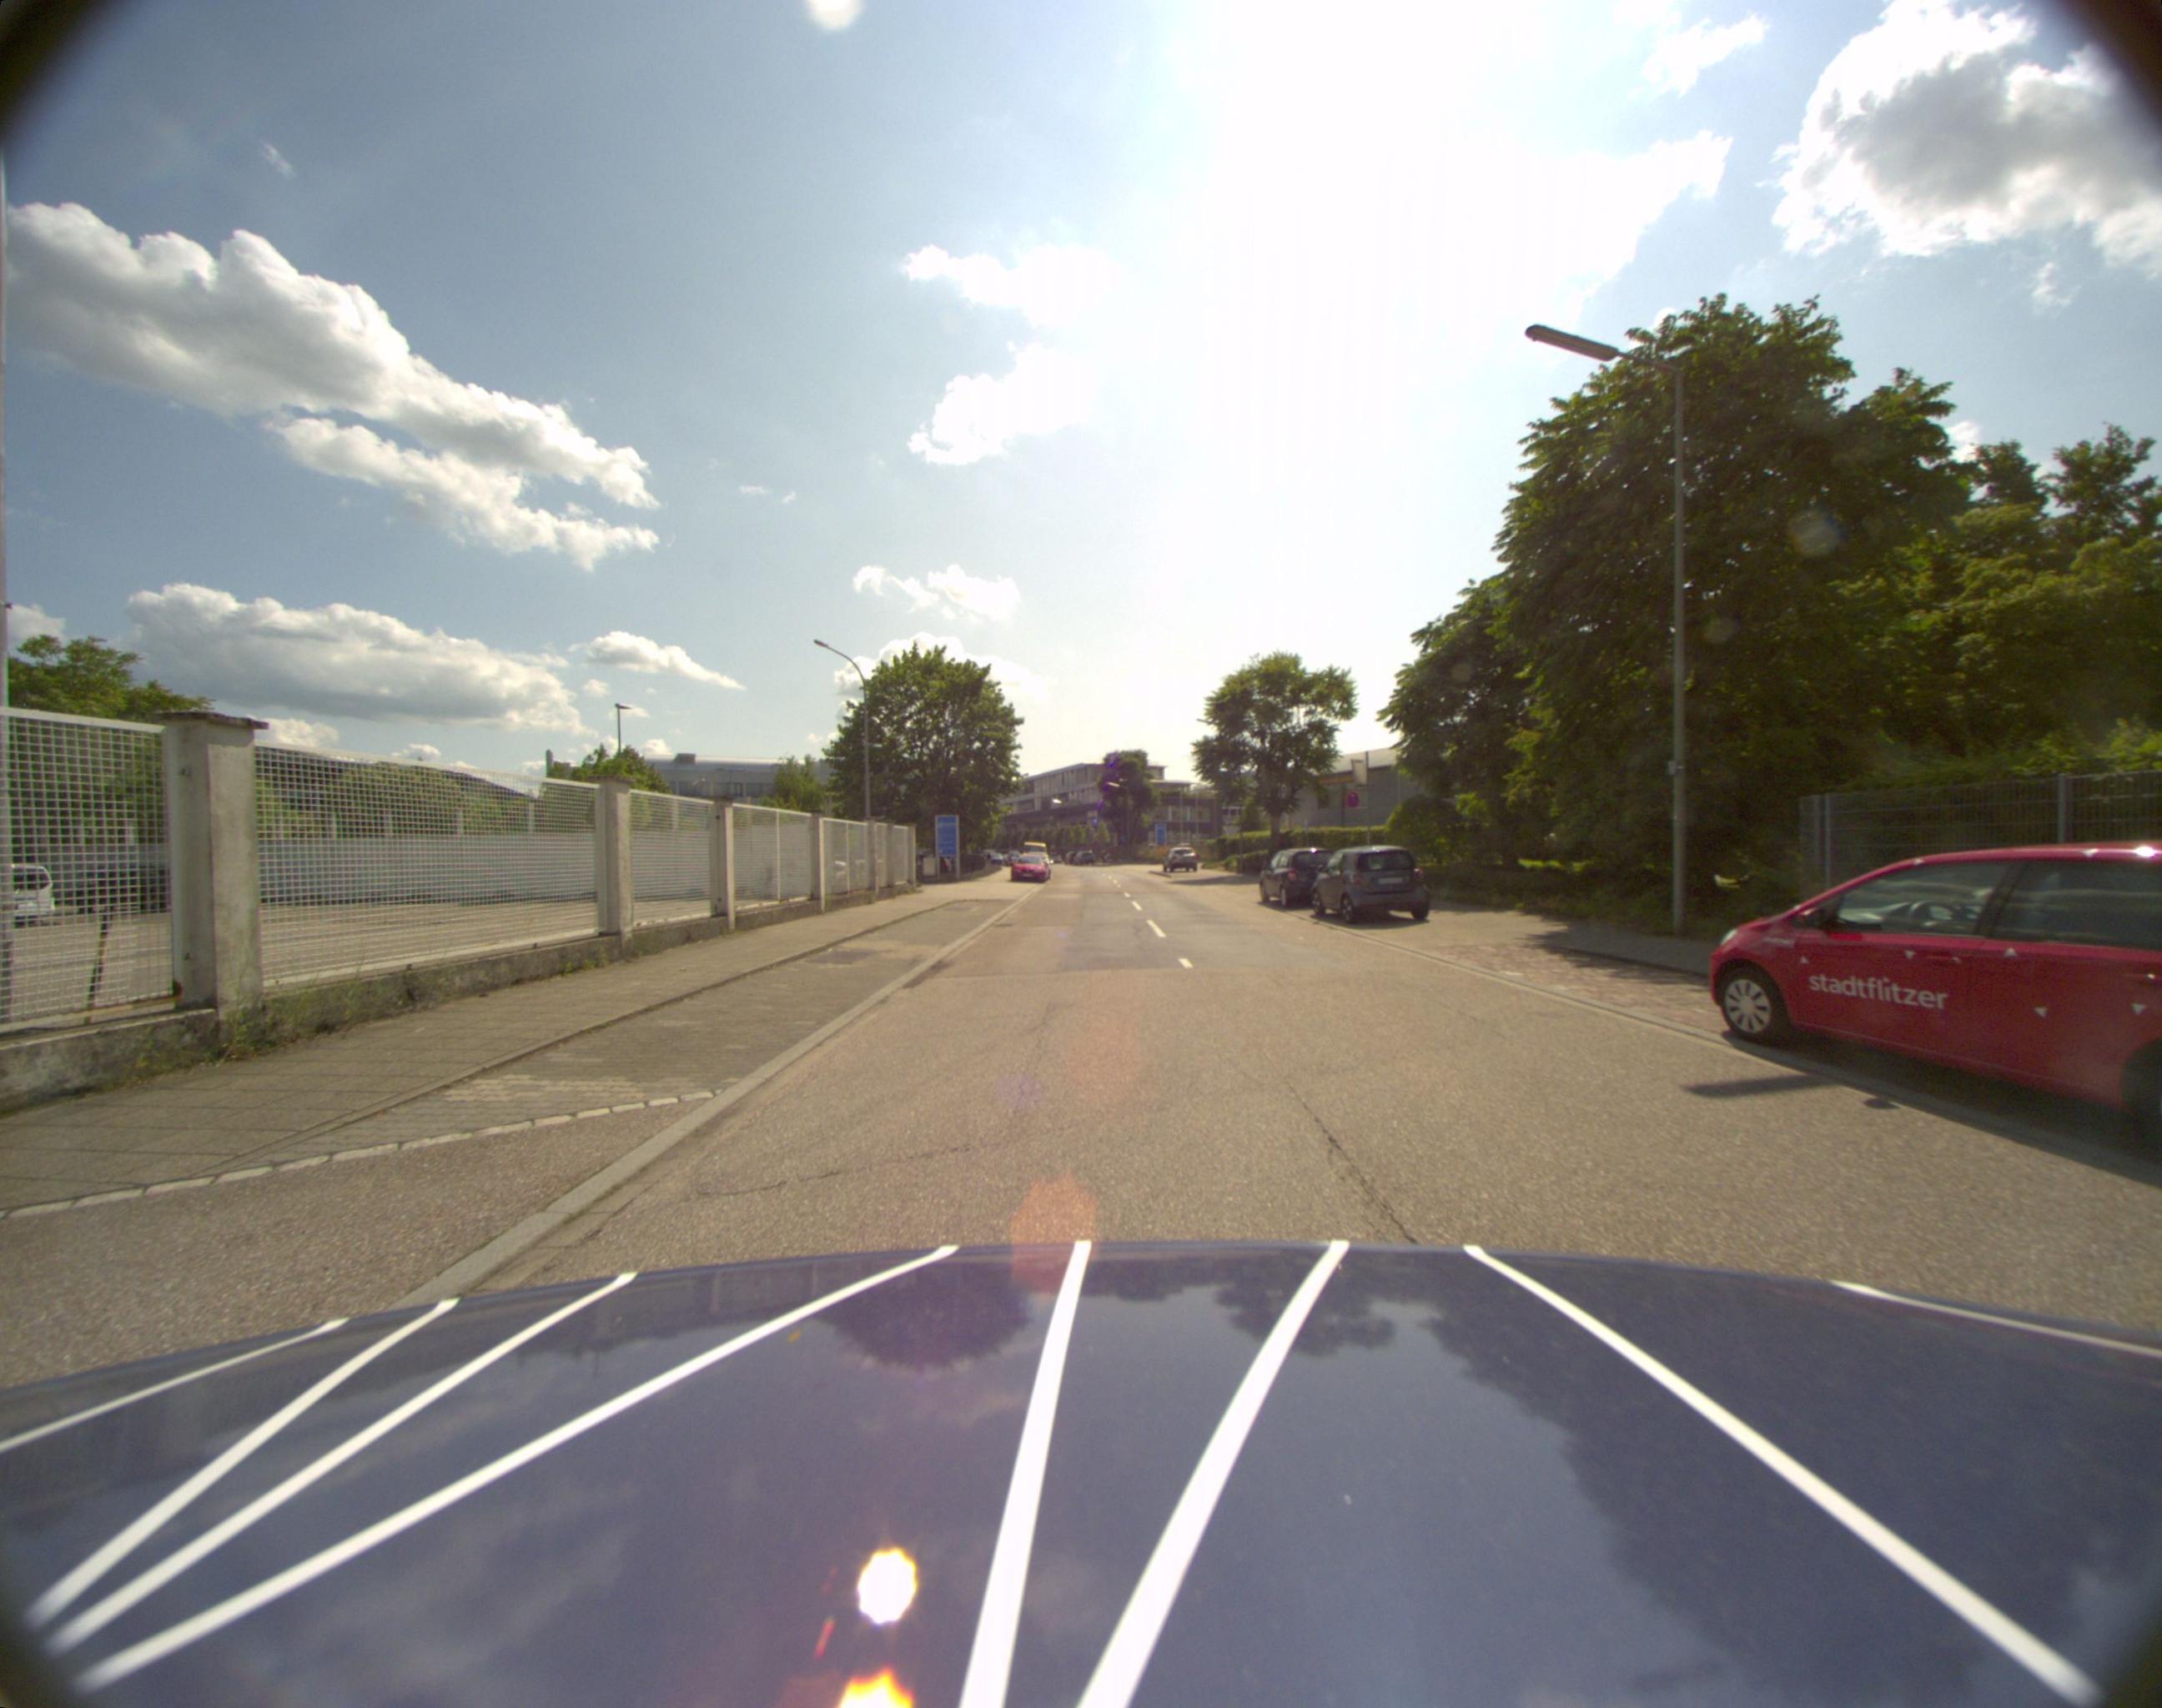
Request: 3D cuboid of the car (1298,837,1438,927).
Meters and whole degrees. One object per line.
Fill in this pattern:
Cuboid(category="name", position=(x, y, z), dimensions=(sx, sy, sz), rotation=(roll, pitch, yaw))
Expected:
Cuboid(category="car", position=(6.077, 0.518, 16.476), dimensions=(1.655, 1.636, 3.272), rotation=(-4, 1, -1))

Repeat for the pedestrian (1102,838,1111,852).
Cuboid(category="pedestrian", position=(3.076, -1.098, 91.113), dimensions=(0.845, 1.682, 0.830), rotation=(-3, 2, -8))

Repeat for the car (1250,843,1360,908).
Cuboid(category="car", position=(6.120, 0.514, 21.218), dimensions=(1.849, 1.499, 3.999), rotation=(-4, 1, 1))

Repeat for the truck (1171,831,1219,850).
Cuboid(category="truck", position=(16.883, -2.049, 112.493), dimensions=(6.943, 2.642, 2.400), rotation=(-2, 1, -25))

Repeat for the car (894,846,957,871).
Cuboid(category="car", position=(-10.526, 0.273, 51.595), dimensions=(3.884, 1.584, 1.909), rotation=(-1, 2, 1))

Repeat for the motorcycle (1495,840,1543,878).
Cuboid(category="motorcycle", position=(14.710, 0.150, 25.571), dimensions=(0.533, 1.213, 1.940), rotation=(-1, 1, 1))

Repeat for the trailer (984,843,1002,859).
Cuboid(category="trailer", position=(-12.150, -0.408, 104.634), dimensions=(1.753, 2.055, 3.941), rotation=(1, 0, -17))

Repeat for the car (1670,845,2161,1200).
Cuboid(category="car", position=(5.635, 0.742, 4.358), dimensions=(1.670, 1.458, 3.743), rotation=(-3, 1, 2))

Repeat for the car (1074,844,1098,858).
Cuboid(category="car", position=(0.577, -0.374, 91.605), dimensions=(1.805, 1.641, 4.683), rotation=(-3, 1, -14))

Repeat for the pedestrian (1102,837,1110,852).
Cuboid(category="pedestrian", position=(3.031, -1.123, 92.244), dimensions=(0.831, 1.751, 0.844), rotation=(-3, 2, -8))

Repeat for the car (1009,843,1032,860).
Cuboid(category="car", position=(-6.575, -0.277, 82.461), dimensions=(1.856, 1.755, 5.071), rotation=(1, 1, -11))

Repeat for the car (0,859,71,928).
Cuboid(category="car", position=(-34.171, 1.159, 22.777), dimensions=(5.066, 1.937, 1.934), rotation=(0, 2, -1))

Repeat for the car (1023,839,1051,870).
Cuboid(category="car", position=(-3.760, -0.043, 64.344), dimensions=(2.163, 2.451, 6.635), rotation=(0, 1, -5))

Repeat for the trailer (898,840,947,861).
Cuboid(category="trailer", position=(-17.068, -0.411, 81.645), dimensions=(5.065, 2.070, 2.058), rotation=(-1, 1, -13))

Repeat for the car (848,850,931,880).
Cuboid(category="car", position=(-10.897, 0.596, 43.469), dimensions=(4.219, 1.584, 1.909), rotation=(-1, 2, 1))

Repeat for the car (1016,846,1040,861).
Cuboid(category="car", position=(-5.323, -0.078, 76.178), dimensions=(1.839, 1.484, 4.650), rotation=(0, 1, -12))

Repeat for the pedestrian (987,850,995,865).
Cuboid(category="pedestrian", position=(-10.772, 0.413, 90.687), dimensions=(0.724, 1.683, 0.738), rotation=(3, 0, -18))

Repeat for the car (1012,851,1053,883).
Cuboid(category="car", position=(-2.500, 0.627, 39.896), dimensions=(1.758, 1.478, 4.224), rotation=(2, 1, 1))

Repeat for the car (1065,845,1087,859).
Cuboid(category="car", position=(-0.614, -0.326, 97.046), dimensions=(1.782, 1.673, 4.224), rotation=(-3, 1, -14))

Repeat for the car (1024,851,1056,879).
Cuboid(category="car", position=(-2.480, 0.628, 45.214), dimensions=(1.705, 1.478, 3.805), rotation=(2, 1, -5))

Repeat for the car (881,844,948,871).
Cuboid(category="car", position=(-10.694, 0.219, 48.969), dimensions=(3.884, 1.628, 1.909), rotation=(-1, 2, 1))

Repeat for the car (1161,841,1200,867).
Cuboid(category="car", position=(6.615, -0.054, 50.985), dimensions=(1.762, 1.565, 4.475), rotation=(-2, 1, -3))

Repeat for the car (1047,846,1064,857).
Cuboid(category="car", position=(-3.553, -0.359, 107.192), dimensions=(1.615, 1.514, 3.069), rotation=(-2, 1, -17))

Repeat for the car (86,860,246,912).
Cuboid(category="car", position=(-33.678, 1.159, 28.015), dimensions=(3.994, 1.642, 1.917), rotation=(-2, 2, 10))

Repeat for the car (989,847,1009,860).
Cuboid(category="car", position=(-10.893, -0.111, 100.469), dimensions=(1.868, 1.673, 4.703), rotation=(1, 0, -16))
